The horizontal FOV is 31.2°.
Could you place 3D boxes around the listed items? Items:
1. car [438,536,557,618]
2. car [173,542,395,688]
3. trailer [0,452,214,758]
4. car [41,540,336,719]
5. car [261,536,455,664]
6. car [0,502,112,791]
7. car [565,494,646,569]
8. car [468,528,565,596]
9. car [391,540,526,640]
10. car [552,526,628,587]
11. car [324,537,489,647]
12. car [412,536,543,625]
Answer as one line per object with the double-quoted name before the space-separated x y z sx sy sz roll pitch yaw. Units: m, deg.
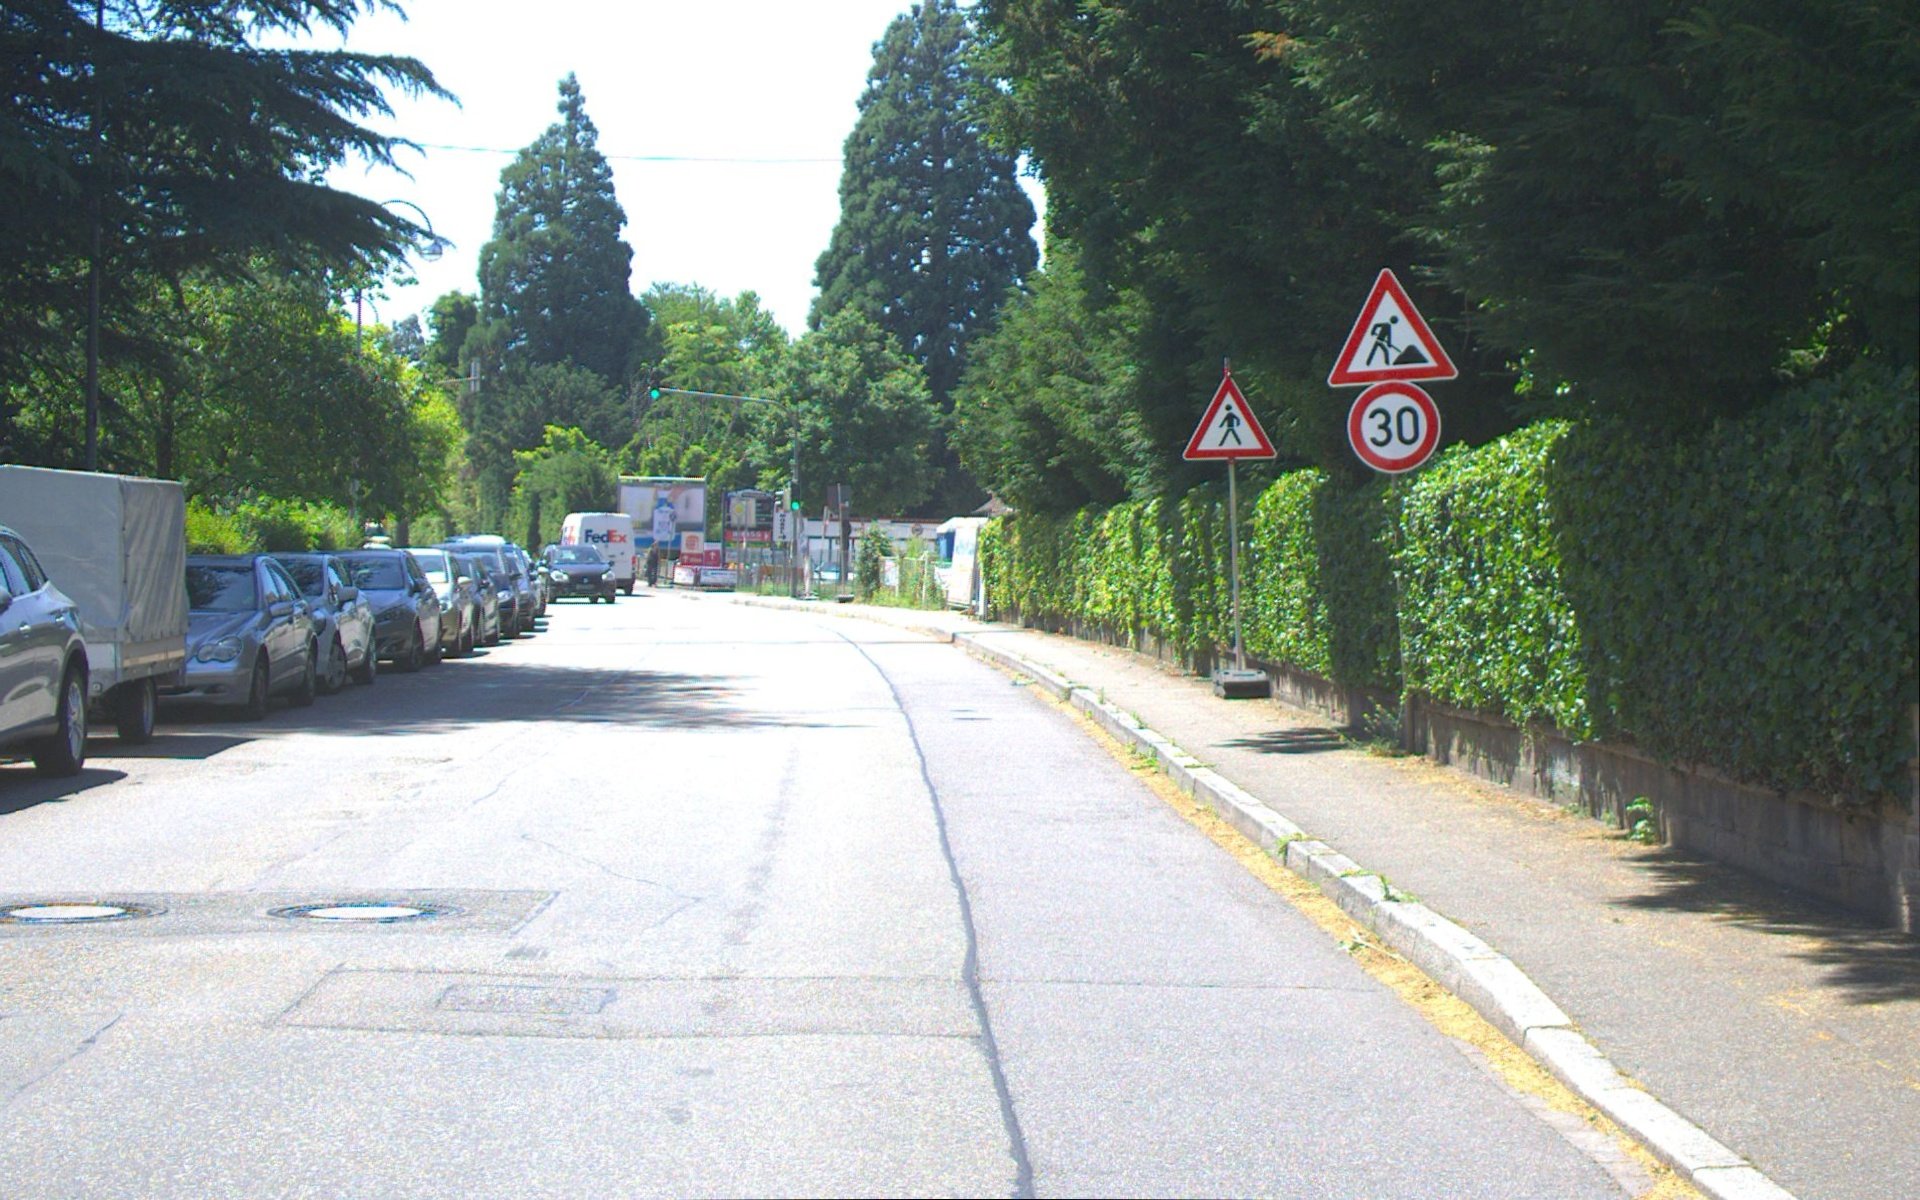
"car" -8.475 -0.454 63.244 1.688 1.439 4.136 -1 1 -1
"car" -7.011 0.117 35.970 1.582 1.385 3.883 -2 1 -1
"trailer" -6.748 0.007 25.106 1.847 2.033 4.164 -2 1 -3
"car" -6.804 0.206 30.752 1.709 1.434 4.322 -1 1 -1
"car" -7.280 -0.038 41.907 1.688 1.439 4.136 -1 1 -1
"car" -6.511 0.272 20.668 1.850 1.665 4.713 -2 1 -3
"car" -11.346 -2.199 109.707 2.143 2.307 4.854 -1 1 -11
"car" -9.813 -0.860 76.287 1.688 1.439 4.136 -1 1 -1
"car" -7.635 -0.179 52.592 1.689 1.444 4.001 0 1 -3
"car" -9.779 -1.170 91.107 1.852 1.579 4.136 -1 1 -4
"car" -7.640 -0.147 47.794 1.688 1.439 4.136 -1 1 -1
"car" -8.092 -0.357 57.946 1.688 1.439 4.136 -1 1 -1
